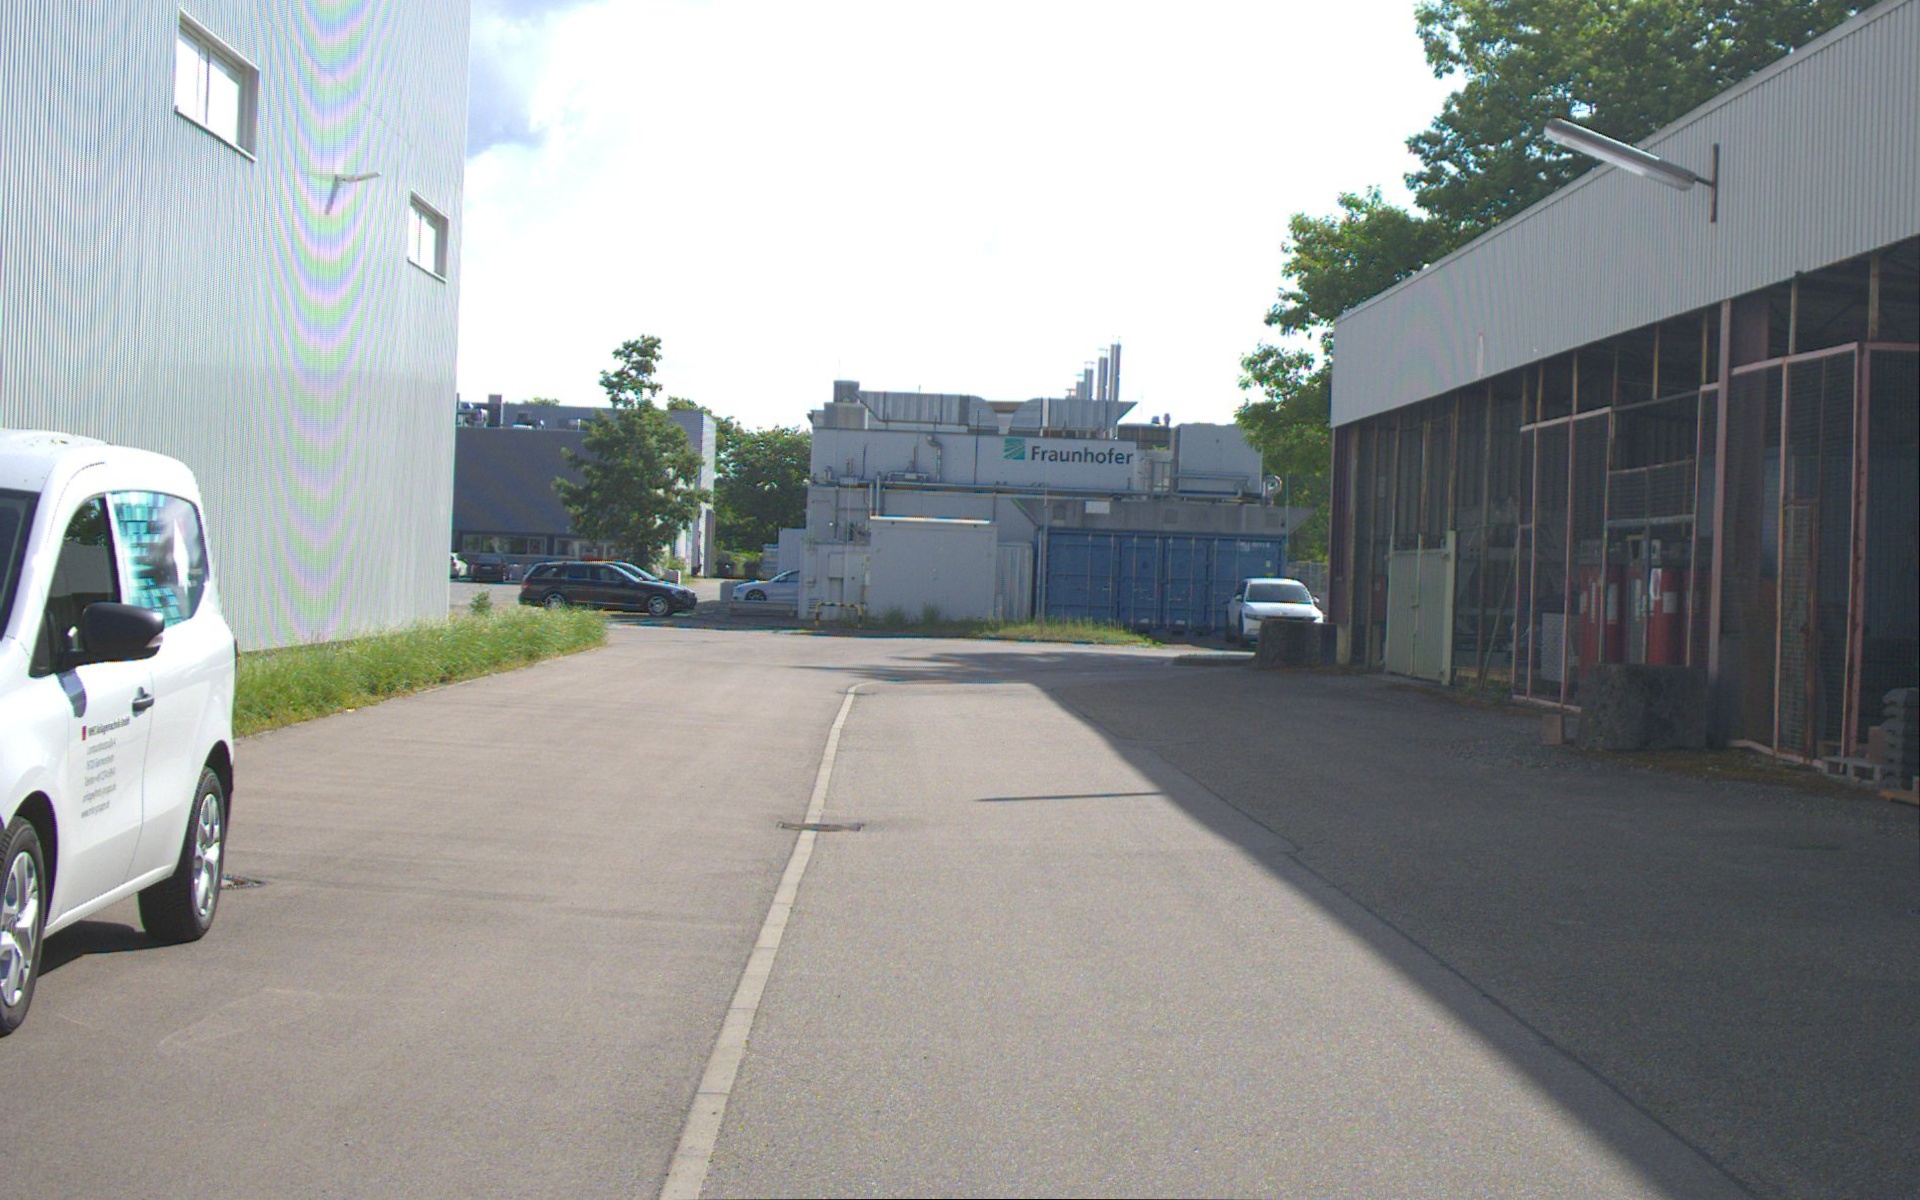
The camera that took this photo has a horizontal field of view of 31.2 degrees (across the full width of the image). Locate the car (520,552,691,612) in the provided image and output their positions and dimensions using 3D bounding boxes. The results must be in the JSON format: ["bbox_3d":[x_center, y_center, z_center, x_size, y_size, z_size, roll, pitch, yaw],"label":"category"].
[{"bbox_3d":[-9.558,-0.480,93.051,4.447,1.526,1.824,1,0,-1],"label":"car"}]

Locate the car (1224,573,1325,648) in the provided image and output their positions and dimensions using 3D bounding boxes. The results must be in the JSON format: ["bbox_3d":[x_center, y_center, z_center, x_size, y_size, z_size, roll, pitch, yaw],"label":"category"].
[{"bbox_3d":[7.348,0.213,80.782,1.979,1.597,4.377,1,2,0],"label":"car"}]

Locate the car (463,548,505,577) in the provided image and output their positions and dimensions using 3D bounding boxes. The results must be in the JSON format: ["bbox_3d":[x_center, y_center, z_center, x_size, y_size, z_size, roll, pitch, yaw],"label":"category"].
[{"bbox_3d":[-26.047,-2.045,188.212,1.858,1.489,4.030,1,0,-3],"label":"car"}]

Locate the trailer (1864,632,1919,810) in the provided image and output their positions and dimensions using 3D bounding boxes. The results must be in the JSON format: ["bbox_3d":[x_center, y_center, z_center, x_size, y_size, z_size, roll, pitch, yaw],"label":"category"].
[{"bbox_3d":[6.359,0.779,22.196,0.551,1.114,1.547,1,0,-3],"label":"trailer"}]

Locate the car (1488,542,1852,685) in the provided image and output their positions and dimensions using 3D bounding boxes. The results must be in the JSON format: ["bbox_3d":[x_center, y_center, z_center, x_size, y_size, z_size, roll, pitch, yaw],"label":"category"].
[{"bbox_3d":[10.369,0.198,50.352,4.767,1.909,2.000,2,0,-9],"label":"car"}]

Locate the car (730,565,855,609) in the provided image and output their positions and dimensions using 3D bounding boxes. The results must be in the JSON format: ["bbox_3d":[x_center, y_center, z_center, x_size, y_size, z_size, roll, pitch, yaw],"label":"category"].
[{"bbox_3d":[-5.872,-0.455,120.990,4.302,1.452,1.824,1,0,-1],"label":"car"}]

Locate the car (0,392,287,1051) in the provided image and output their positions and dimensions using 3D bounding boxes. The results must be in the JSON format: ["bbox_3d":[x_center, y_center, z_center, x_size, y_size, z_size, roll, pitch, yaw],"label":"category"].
[{"bbox_3d":[-3.537,0.293,11.157,1.783,1.809,4.601,4,0,-1],"label":"car"}]
